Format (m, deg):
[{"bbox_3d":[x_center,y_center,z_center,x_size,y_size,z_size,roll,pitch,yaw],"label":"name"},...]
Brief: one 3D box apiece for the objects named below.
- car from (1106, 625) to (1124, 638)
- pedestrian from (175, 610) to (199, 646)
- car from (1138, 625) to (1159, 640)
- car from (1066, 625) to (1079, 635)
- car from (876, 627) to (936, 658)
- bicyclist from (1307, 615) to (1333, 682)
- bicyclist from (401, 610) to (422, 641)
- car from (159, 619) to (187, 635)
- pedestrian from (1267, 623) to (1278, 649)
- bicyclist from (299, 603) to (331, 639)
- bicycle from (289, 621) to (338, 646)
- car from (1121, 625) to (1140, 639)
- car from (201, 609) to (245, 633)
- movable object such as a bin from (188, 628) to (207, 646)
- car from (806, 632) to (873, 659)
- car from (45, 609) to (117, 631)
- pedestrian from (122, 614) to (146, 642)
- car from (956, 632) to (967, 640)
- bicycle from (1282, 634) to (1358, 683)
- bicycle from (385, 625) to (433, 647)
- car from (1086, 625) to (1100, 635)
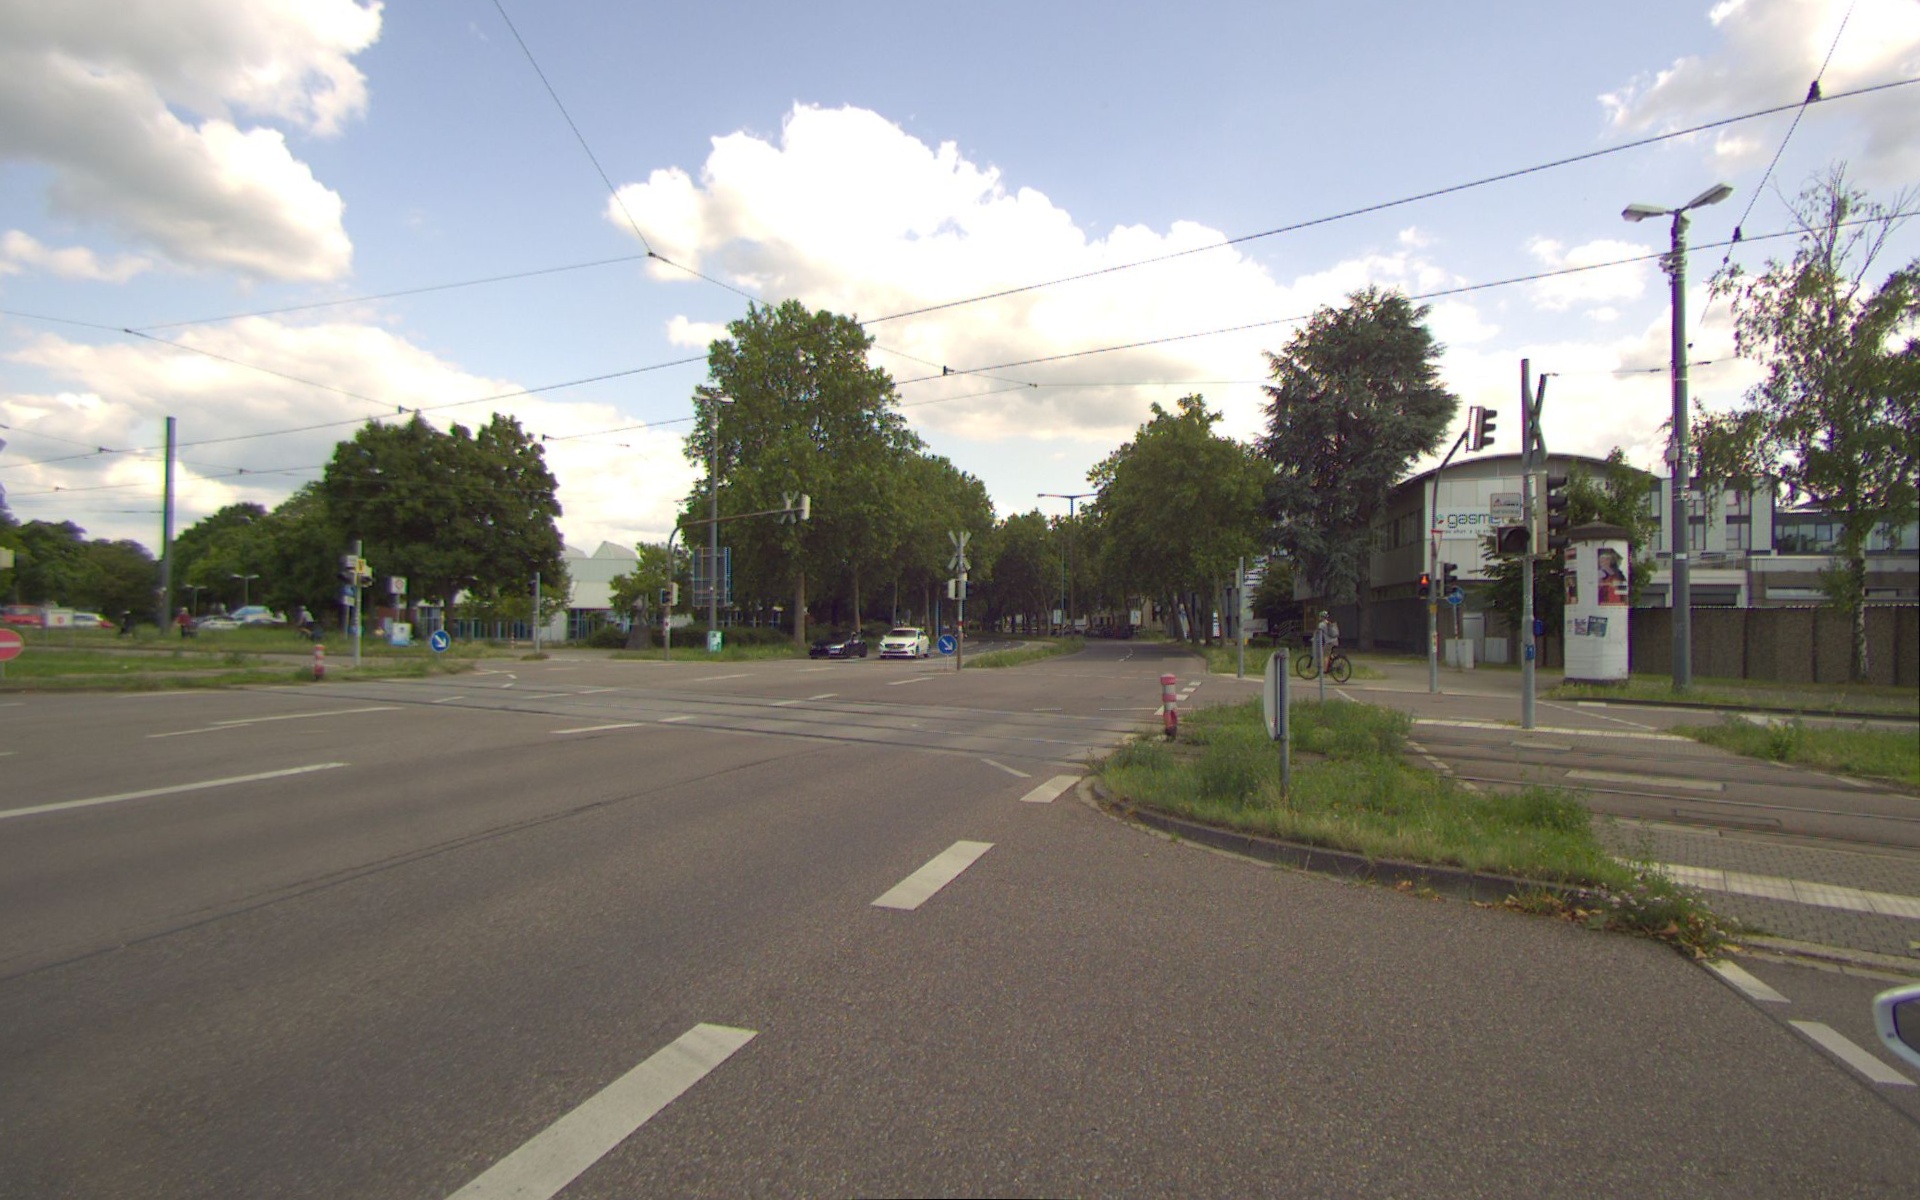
[{"bbox_3d":[21.352,4.370,138.556,1.960,1.595,4.001,0,1,3],"label":"car"},{"bbox_3d":[-36.742,1.338,47.766,0.625,1.666,0.613,0,1,6],"label":"pedestrian"},{"bbox_3d":[22.159,3.777,118.300,1.960,1.595,4.001,0,1,3],"label":"car"},{"bbox_3d":[19.988,5.310,178.650,1.960,1.595,4.001,0,1,3],"label":"car"},{"bbox_3d":[-2.506,1.975,47.325,1.794,1.382,4.141,0,-1,12],"label":"car"},{"bbox_3d":[9.989,1.329,27.866,0.536,1.834,0.539,1,1,38],"label":"bicyclist"},{"bbox_3d":[-26.871,1.267,49.220,0.824,1.509,0.957,1,-1,-24],"label":"bicyclist"},{"bbox_3d":[-87.302,3.012,111.383,1.987,1.661,4.333,2,-2,-44],"label":"car"},{"bbox_3d":[19.491,2.264,62.649,0.610,1.590,0.559,0,1,14],"label":"pedestrian"},{"bbox_3d":[-31.380,1.036,48.866,0.819,1.745,0.964,0,-1,16],"label":"bicyclist"},{"bbox_3d":[-31.473,1.610,48.881,1.944,1.169,0.952,0,-1,16],"label":"bicycle"},{"bbox_3d":[22.010,4.116,130.123,1.960,1.595,4.001,0,1,3],"label":"car"},{"bbox_3d":[-53.099,1.507,72.311,1.987,1.661,4.333,2,-2,-44],"label":"car"},{"bbox_3d":[-36.227,1.751,47.719,0.450,0.822,0.579,0,1,7],"label":"movable object such as a bin"},{"bbox_3d":[-5.633,2.108,47.387,1.608,1.207,3.708,0,-2,21],"label":"car"},{"bbox_3d":[-65.878,1.509,75.318,3.974,1.550,1.974,2,-2,-44],"label":"car"},{"bbox_3d":[-41.792,1.415,50.819,0.737,1.372,0.651,0,1,20],"label":"pedestrian"},{"bbox_3d":[0.214,5.748,159.833,1.608,1.207,3.708,1,-1,-1],"label":"car"},{"bbox_3d":[9.977,1.616,27.882,1.921,1.252,0.539,0,1,38],"label":"bicycle"},{"bbox_3d":[-26.956,1.755,49.173,1.957,1.054,0.946,1,-1,-25],"label":"bicycle"},{"bbox_3d":[21.880,4.907,164.900,1.960,1.595,4.001,0,1,3],"label":"car"}]
